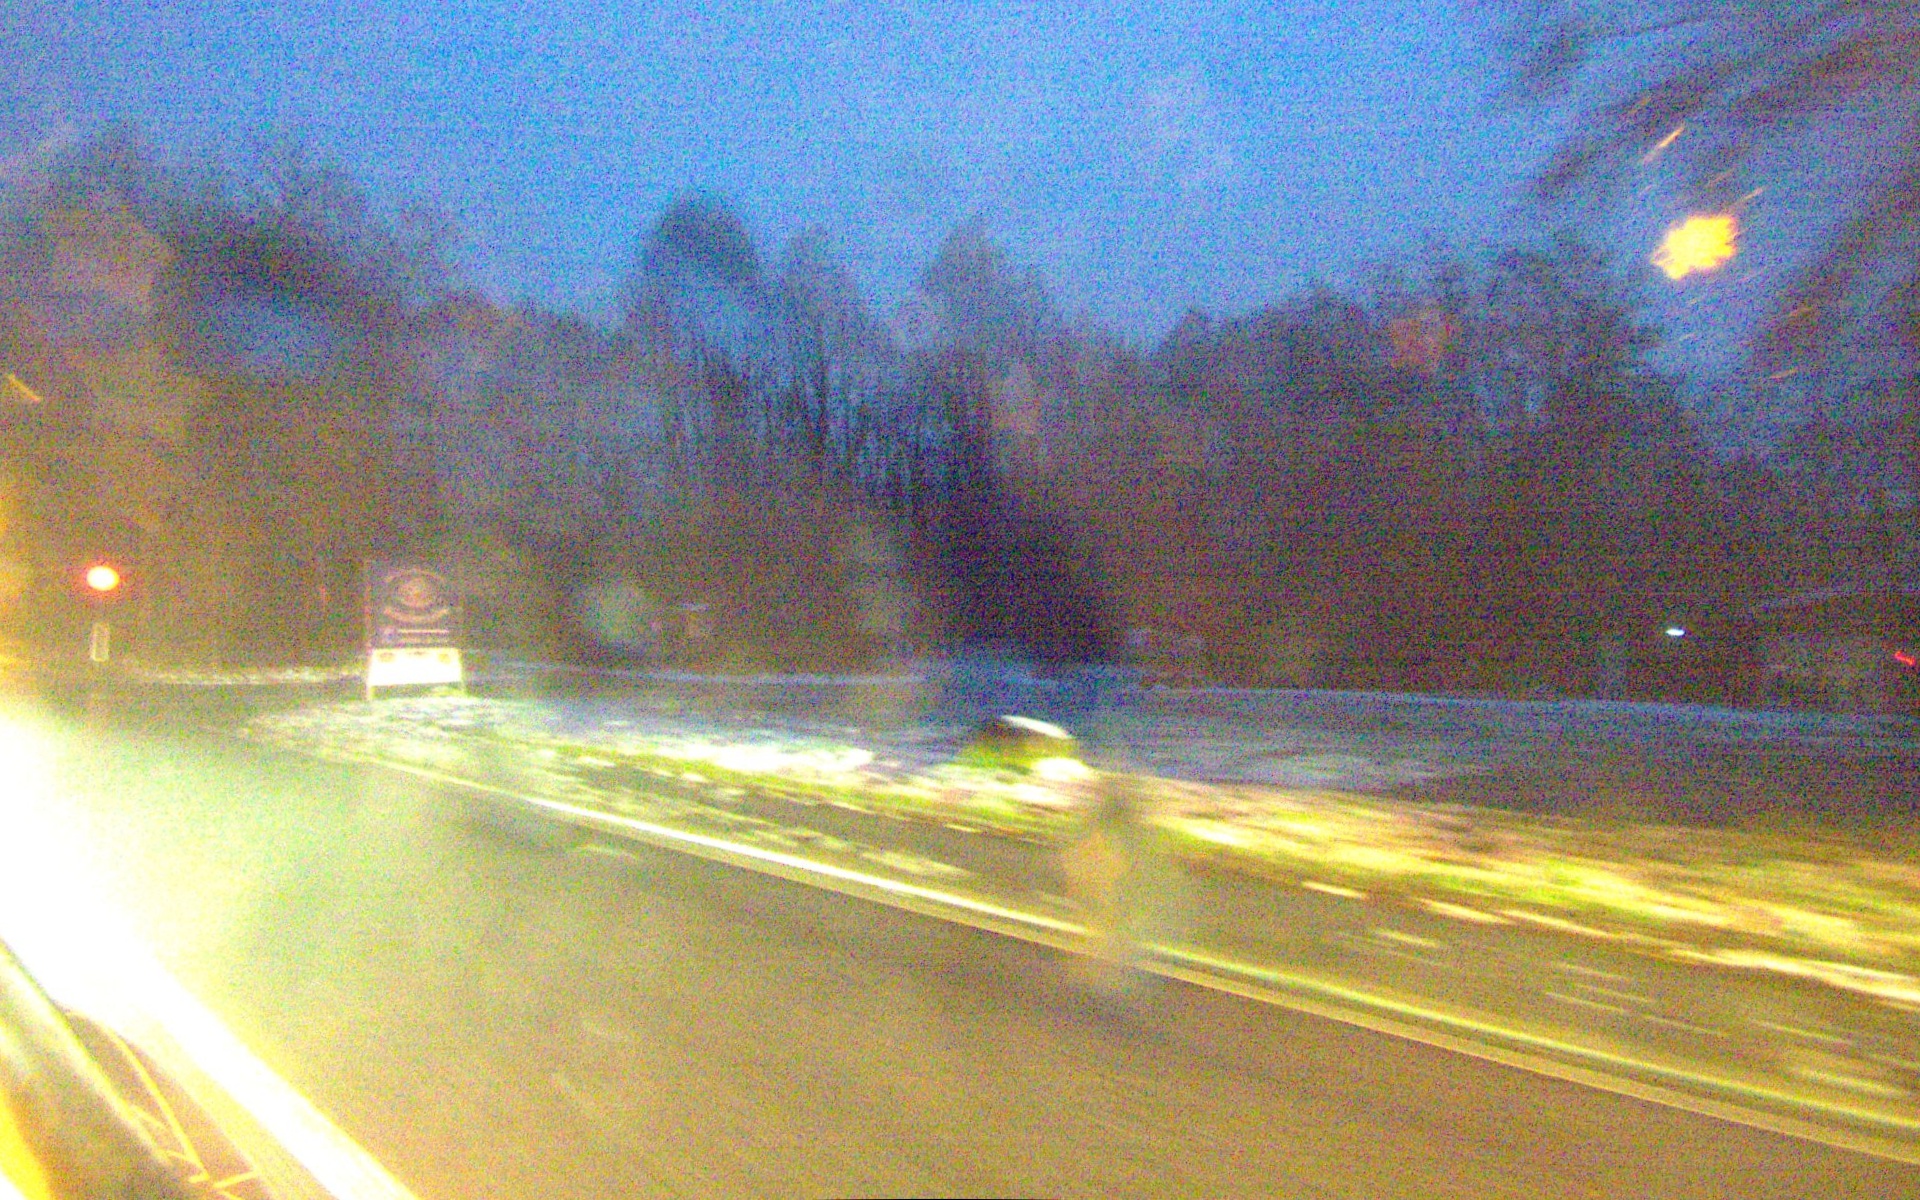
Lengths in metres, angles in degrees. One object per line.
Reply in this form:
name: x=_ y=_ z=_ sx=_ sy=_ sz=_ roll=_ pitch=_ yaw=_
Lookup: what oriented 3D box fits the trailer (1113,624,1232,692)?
trailer: x=7.646 y=2.092 z=36.421 sx=3.745 sy=2.234 sz=1.980 roll=4 pitch=-3 yaw=-31
